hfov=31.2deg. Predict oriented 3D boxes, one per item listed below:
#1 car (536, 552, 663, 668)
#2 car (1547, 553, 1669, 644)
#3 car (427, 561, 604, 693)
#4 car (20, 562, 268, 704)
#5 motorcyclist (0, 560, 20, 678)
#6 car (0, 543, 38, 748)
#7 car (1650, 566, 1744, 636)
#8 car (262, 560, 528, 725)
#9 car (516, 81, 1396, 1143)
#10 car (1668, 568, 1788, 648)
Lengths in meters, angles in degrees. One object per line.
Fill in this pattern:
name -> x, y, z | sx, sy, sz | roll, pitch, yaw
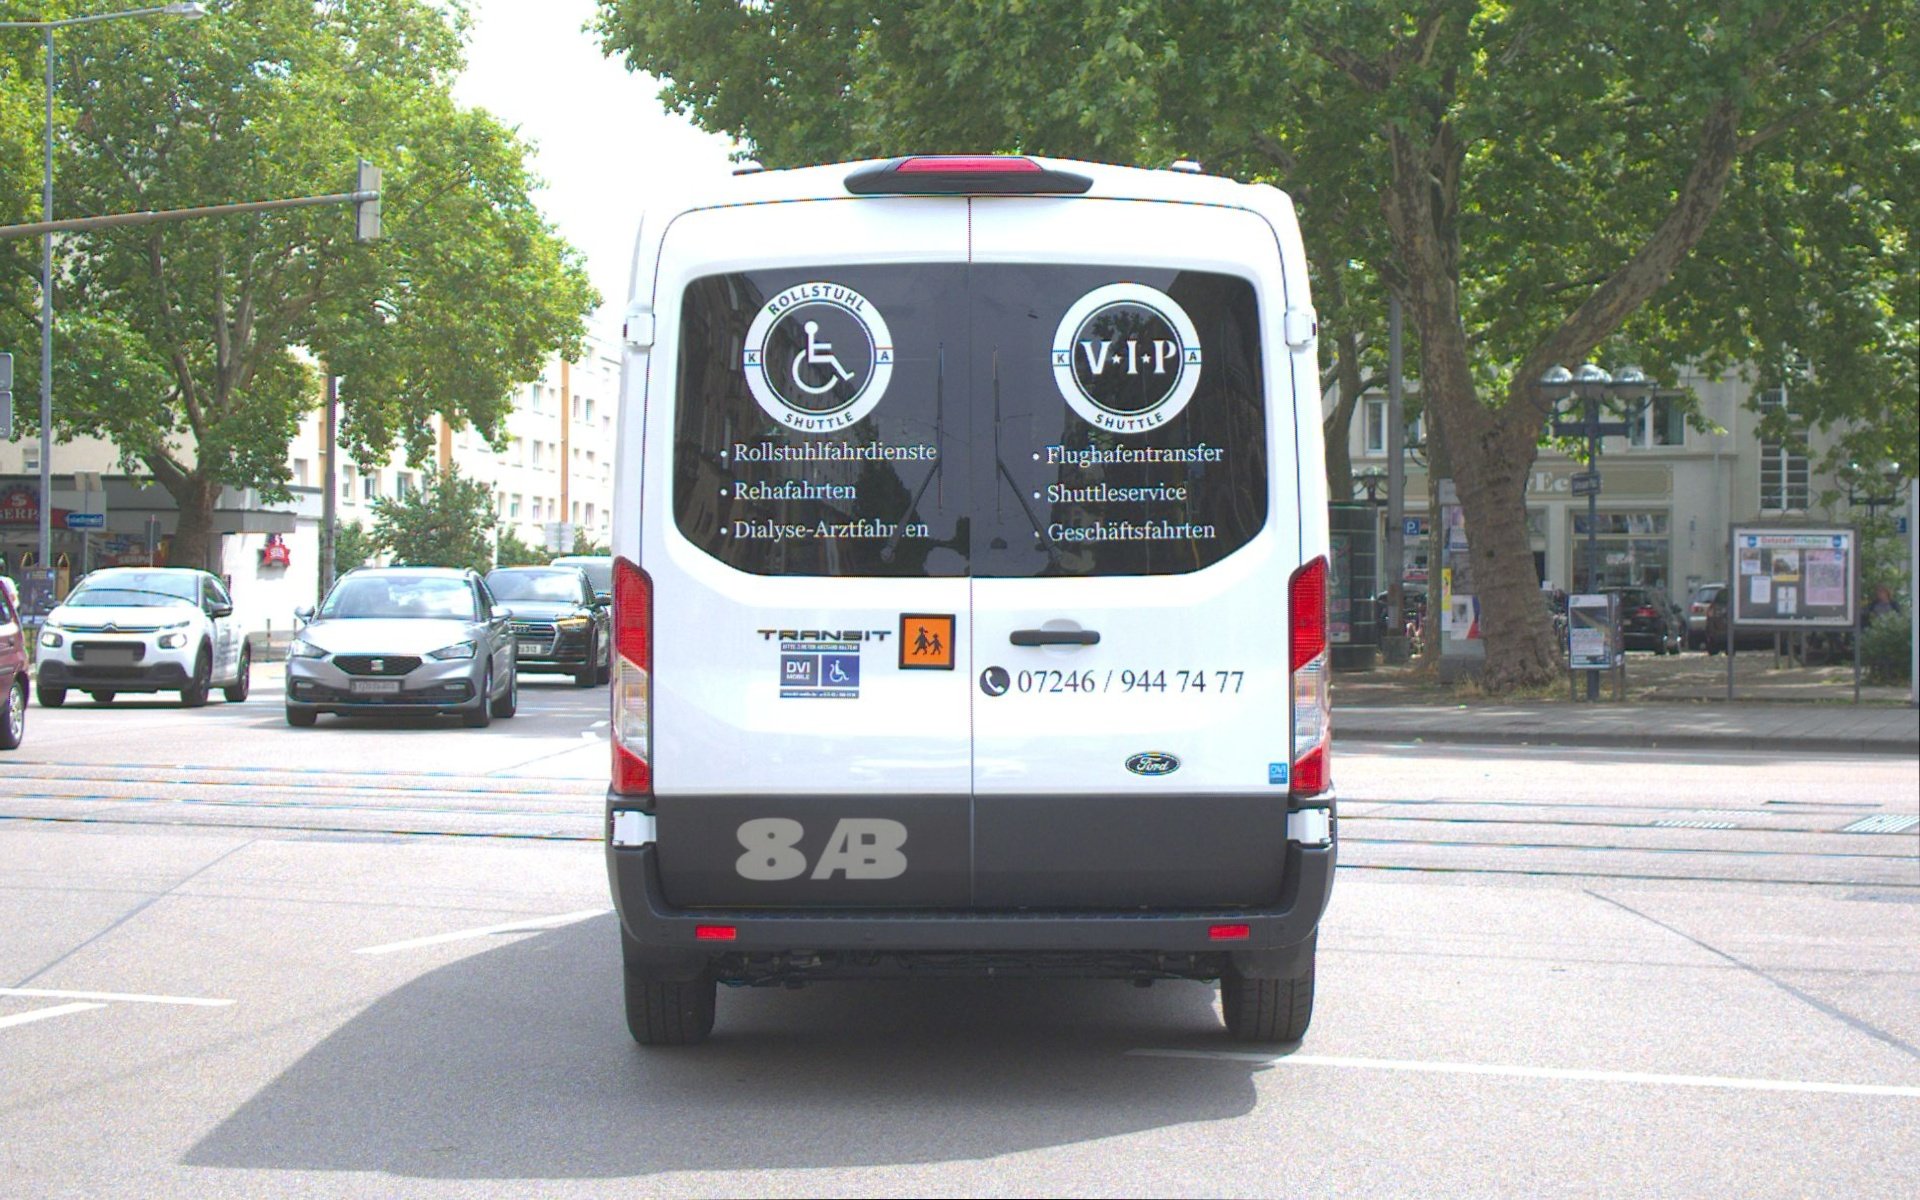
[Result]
car -> -6.181, 0.147, 59.364 | 1.743, 1.924, 4.854 | 0, 1, -1
car -> 14.014, -0.054, 74.535 | 1.993, 1.924, 4.000 | 0, 0, 2
car -> -5.575, 0.305, 43.570 | 1.743, 1.582, 4.329 | 0, 1, -1
car -> -8.604, 0.316, 36.566 | 1.743, 1.422, 4.032 | 0, 1, -1
motorcyclist -> -11.581, 0.221, 40.789 | 0.683, 1.391, 0.682 | 0, 0, -3
car -> -7.811, 0.338, 24.629 | 1.591, 1.502, 3.808 | 0, 1, -3
car -> 18.144, 0.009, 84.490 | 1.806, 1.678, 3.996 | 0, 1, 19
car -> -5.135, 0.350, 31.715 | 1.832, 1.422, 4.121 | 0, 1, -1
car -> -0.175, -0.032, 10.973 | 2.181, 2.639, 4.629 | -1, 1, -4
car -> 16.532, 0.145, 74.160 | 1.805, 1.678, 4.000 | 0, 1, 2
